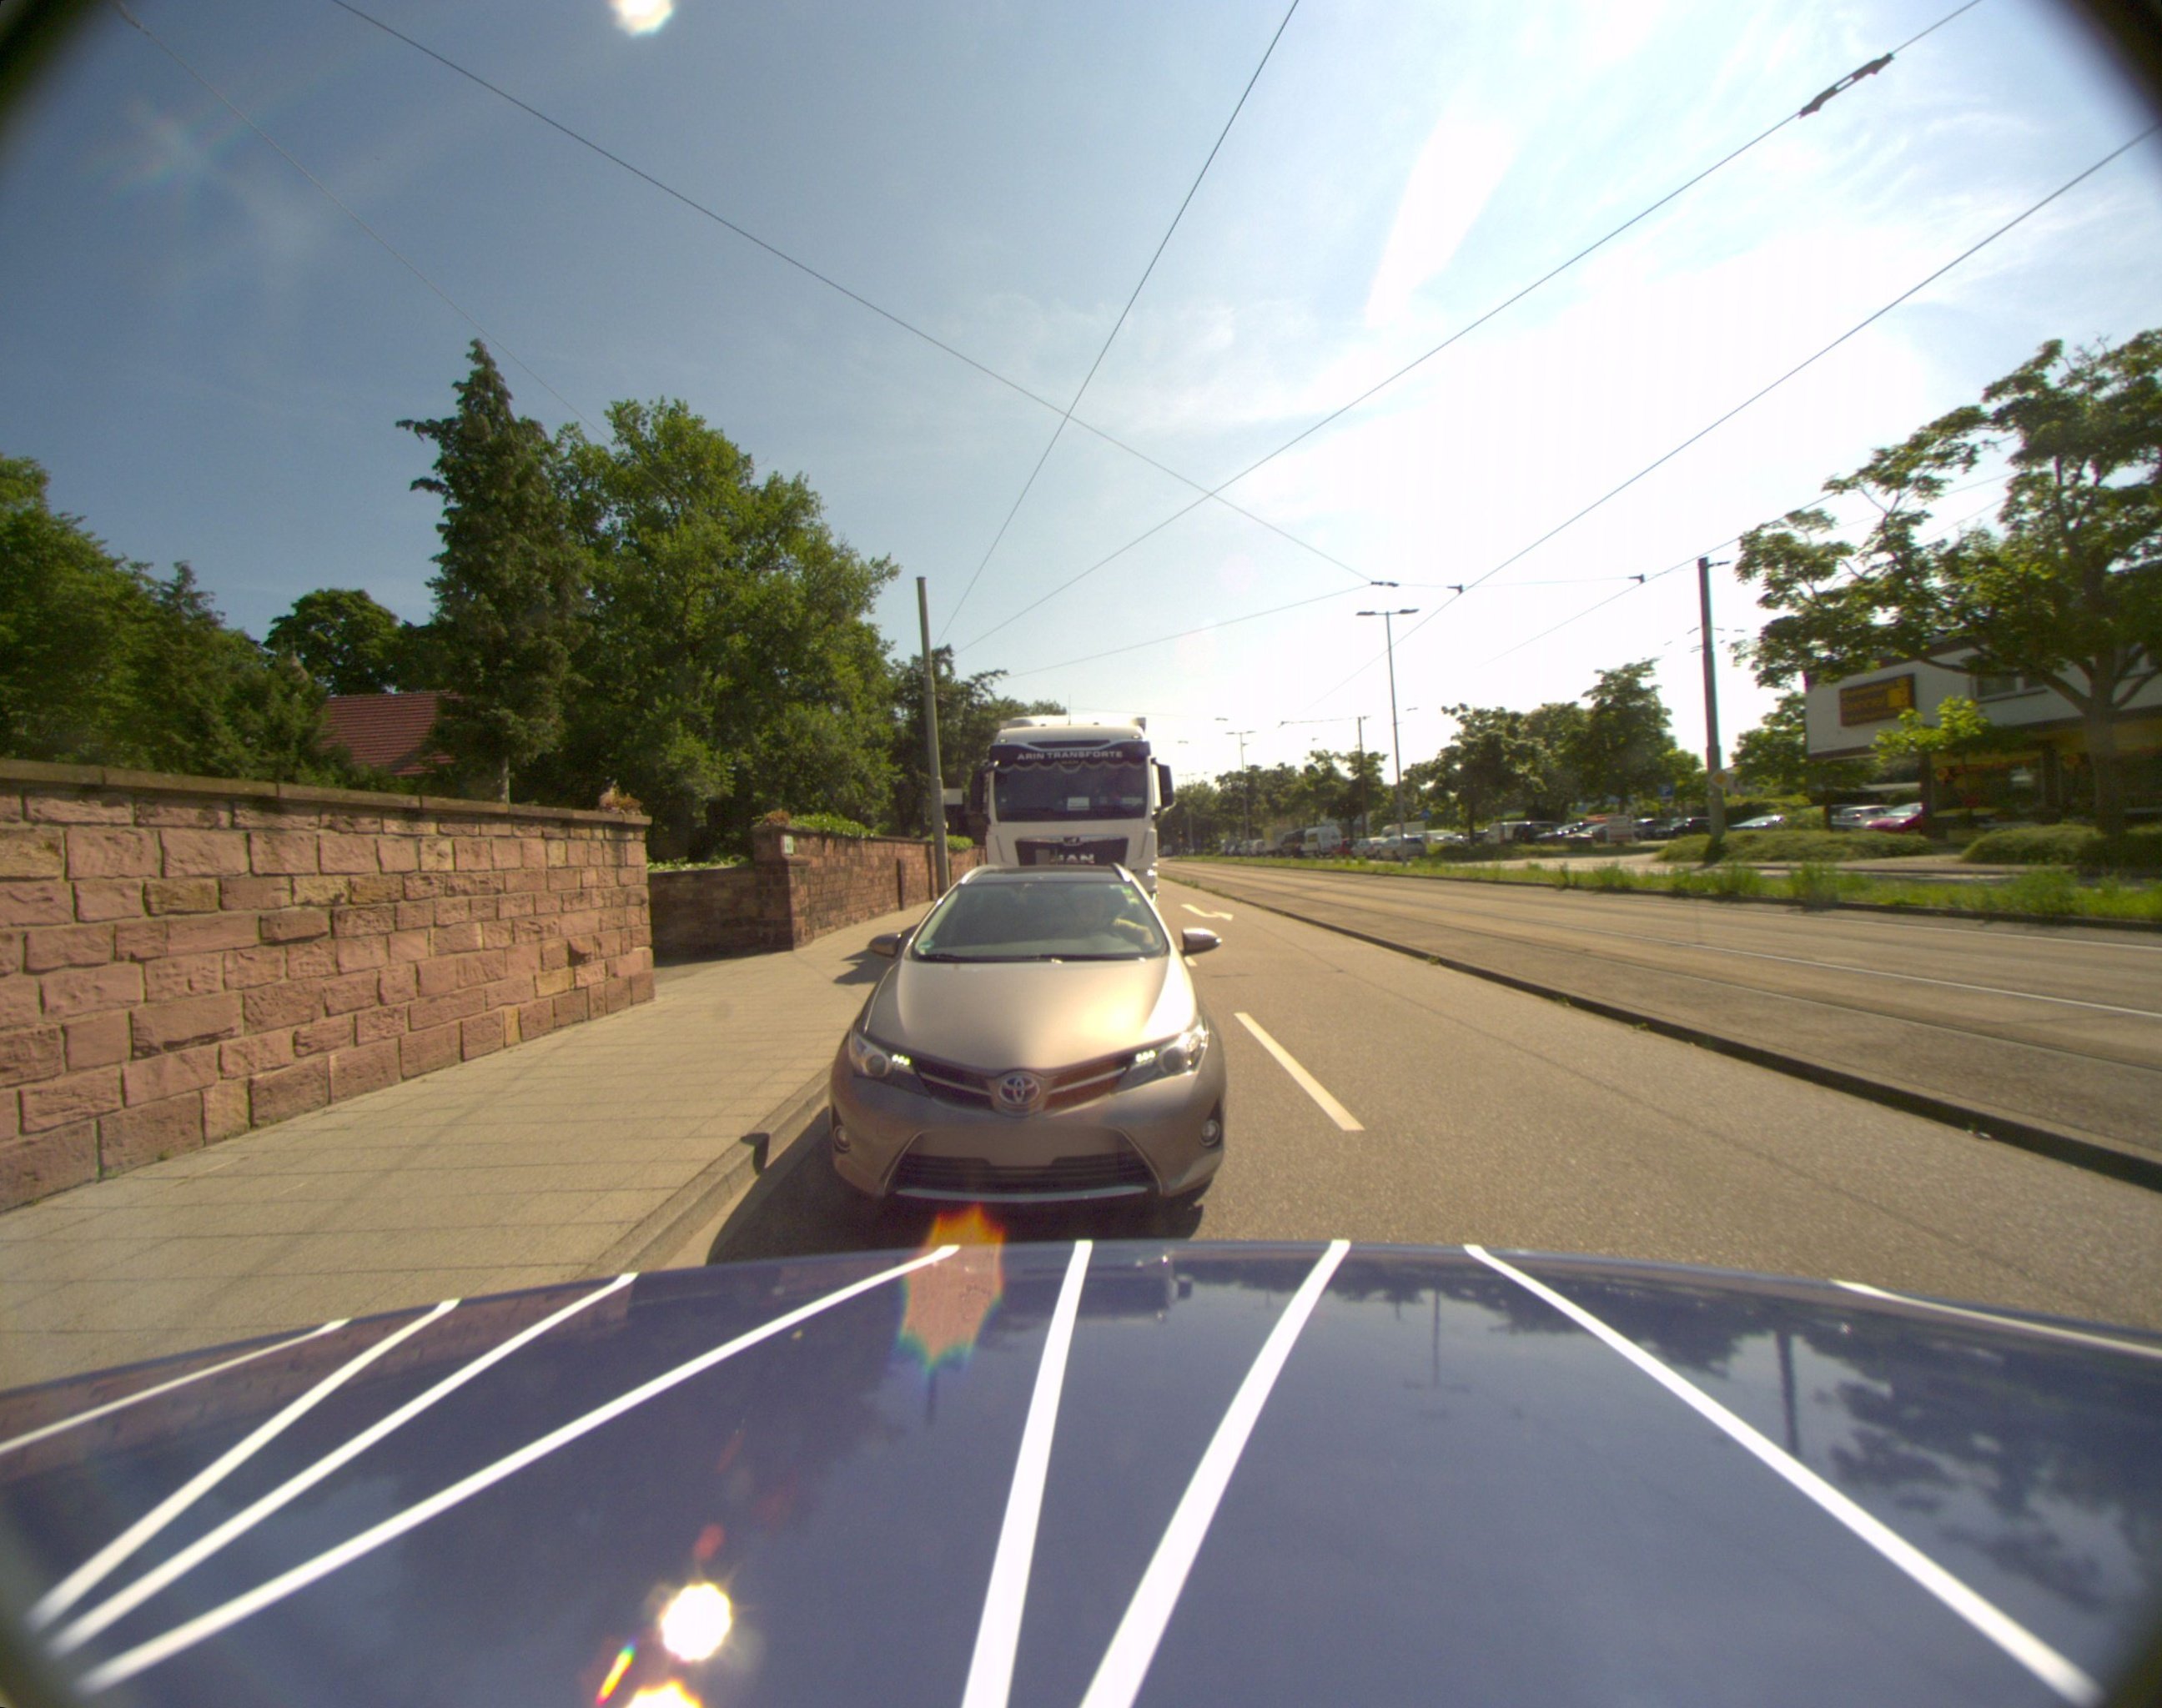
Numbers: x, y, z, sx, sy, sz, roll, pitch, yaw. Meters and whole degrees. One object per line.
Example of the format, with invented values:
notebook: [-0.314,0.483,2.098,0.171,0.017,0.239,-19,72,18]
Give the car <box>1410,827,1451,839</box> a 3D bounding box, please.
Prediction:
car: [43.726,-2.622,95.113,4.253,1.327,1.676,-3,0,1]

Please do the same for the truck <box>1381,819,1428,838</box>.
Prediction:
truck: [44.731,-3.519,105.154,5.652,2.367,1.990,-3,1,-2]

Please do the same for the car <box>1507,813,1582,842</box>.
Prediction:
car: [30.572,-1.715,50.165,3.810,1.625,1.676,-3,1,2]

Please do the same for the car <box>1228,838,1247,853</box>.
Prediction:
car: [20.611,-1.088,100.074,1.502,1.775,3.687,-6,0,0]

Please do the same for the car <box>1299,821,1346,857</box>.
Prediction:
car: [20.275,-1.224,63.992,2.062,2.638,5.203,-6,0,1]

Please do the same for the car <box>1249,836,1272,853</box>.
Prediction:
car: [20.649,-1.051,87.615,1.502,1.793,4.633,-6,0,1]

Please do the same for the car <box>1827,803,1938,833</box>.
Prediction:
car: [44.329,-1.960,42.074,4.252,1.327,1.676,-3,0,2]

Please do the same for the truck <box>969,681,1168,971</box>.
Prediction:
truck: [-0.077,-0.427,15.083,2.628,3.906,9.285,-2,1,1]

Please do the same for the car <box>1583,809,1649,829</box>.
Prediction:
car: [43.988,-2.880,62.518,4.254,1.327,1.676,-3,0,-1]

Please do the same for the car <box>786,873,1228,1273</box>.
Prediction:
car: [-0.264,0.894,4.921,1.654,1.374,4.000,-2,0,0]

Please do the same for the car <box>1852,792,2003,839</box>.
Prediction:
car: [35.259,-1.581,31.731,4.252,1.595,1.676,-3,1,2]

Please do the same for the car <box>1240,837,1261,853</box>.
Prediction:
car: [20.959,-1.124,94.222,1.502,1.835,4.059,-6,0,0]

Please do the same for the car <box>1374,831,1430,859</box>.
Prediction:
car: [20.282,-0.534,48.172,1.675,1.524,4.256,-6,0,1]

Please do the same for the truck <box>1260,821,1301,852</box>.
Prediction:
truck: [20.633,-1.774,78.868,2.508,2.917,5.903,-6,0,2]

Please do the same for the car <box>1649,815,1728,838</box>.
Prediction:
car: [43.948,-1.971,54.986,4.252,1.327,1.676,-3,0,2]

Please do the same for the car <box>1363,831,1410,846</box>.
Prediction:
car: [32.307,-1.592,80.400,4.253,1.327,1.676,-3,0,1]

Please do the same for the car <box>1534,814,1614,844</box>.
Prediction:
car: [30.512,-1.524,47.119,3.810,1.625,1.676,-3,1,2]

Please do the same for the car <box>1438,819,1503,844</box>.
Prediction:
car: [31.226,-1.820,60.980,4.117,1.728,1.990,-3,1,-2]

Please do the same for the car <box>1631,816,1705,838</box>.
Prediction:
car: [44.285,-2.032,57.378,4.252,1.327,1.676,-3,0,2]

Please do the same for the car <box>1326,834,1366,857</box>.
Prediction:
car: [20.470,-0.649,58.757,1.675,1.524,3.793,-6,0,1]

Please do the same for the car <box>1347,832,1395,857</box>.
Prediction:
car: [20.439,-0.626,53.659,1.675,1.524,4.256,-6,0,1]

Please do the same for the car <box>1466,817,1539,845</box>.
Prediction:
car: [30.527,-1.683,55.142,4.117,1.728,1.990,-3,1,-2]

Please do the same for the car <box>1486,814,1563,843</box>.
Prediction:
car: [30.687,-1.770,52.671,4.117,1.728,1.990,-3,1,-2]

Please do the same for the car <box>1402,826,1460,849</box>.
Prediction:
car: [31.160,-1.400,67.883,2.594,1.800,5.741,-3,0,2]

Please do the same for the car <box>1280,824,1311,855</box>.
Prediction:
car: [19.855,-1.322,70.379,1.502,2.609,4.007,-6,0,1]
